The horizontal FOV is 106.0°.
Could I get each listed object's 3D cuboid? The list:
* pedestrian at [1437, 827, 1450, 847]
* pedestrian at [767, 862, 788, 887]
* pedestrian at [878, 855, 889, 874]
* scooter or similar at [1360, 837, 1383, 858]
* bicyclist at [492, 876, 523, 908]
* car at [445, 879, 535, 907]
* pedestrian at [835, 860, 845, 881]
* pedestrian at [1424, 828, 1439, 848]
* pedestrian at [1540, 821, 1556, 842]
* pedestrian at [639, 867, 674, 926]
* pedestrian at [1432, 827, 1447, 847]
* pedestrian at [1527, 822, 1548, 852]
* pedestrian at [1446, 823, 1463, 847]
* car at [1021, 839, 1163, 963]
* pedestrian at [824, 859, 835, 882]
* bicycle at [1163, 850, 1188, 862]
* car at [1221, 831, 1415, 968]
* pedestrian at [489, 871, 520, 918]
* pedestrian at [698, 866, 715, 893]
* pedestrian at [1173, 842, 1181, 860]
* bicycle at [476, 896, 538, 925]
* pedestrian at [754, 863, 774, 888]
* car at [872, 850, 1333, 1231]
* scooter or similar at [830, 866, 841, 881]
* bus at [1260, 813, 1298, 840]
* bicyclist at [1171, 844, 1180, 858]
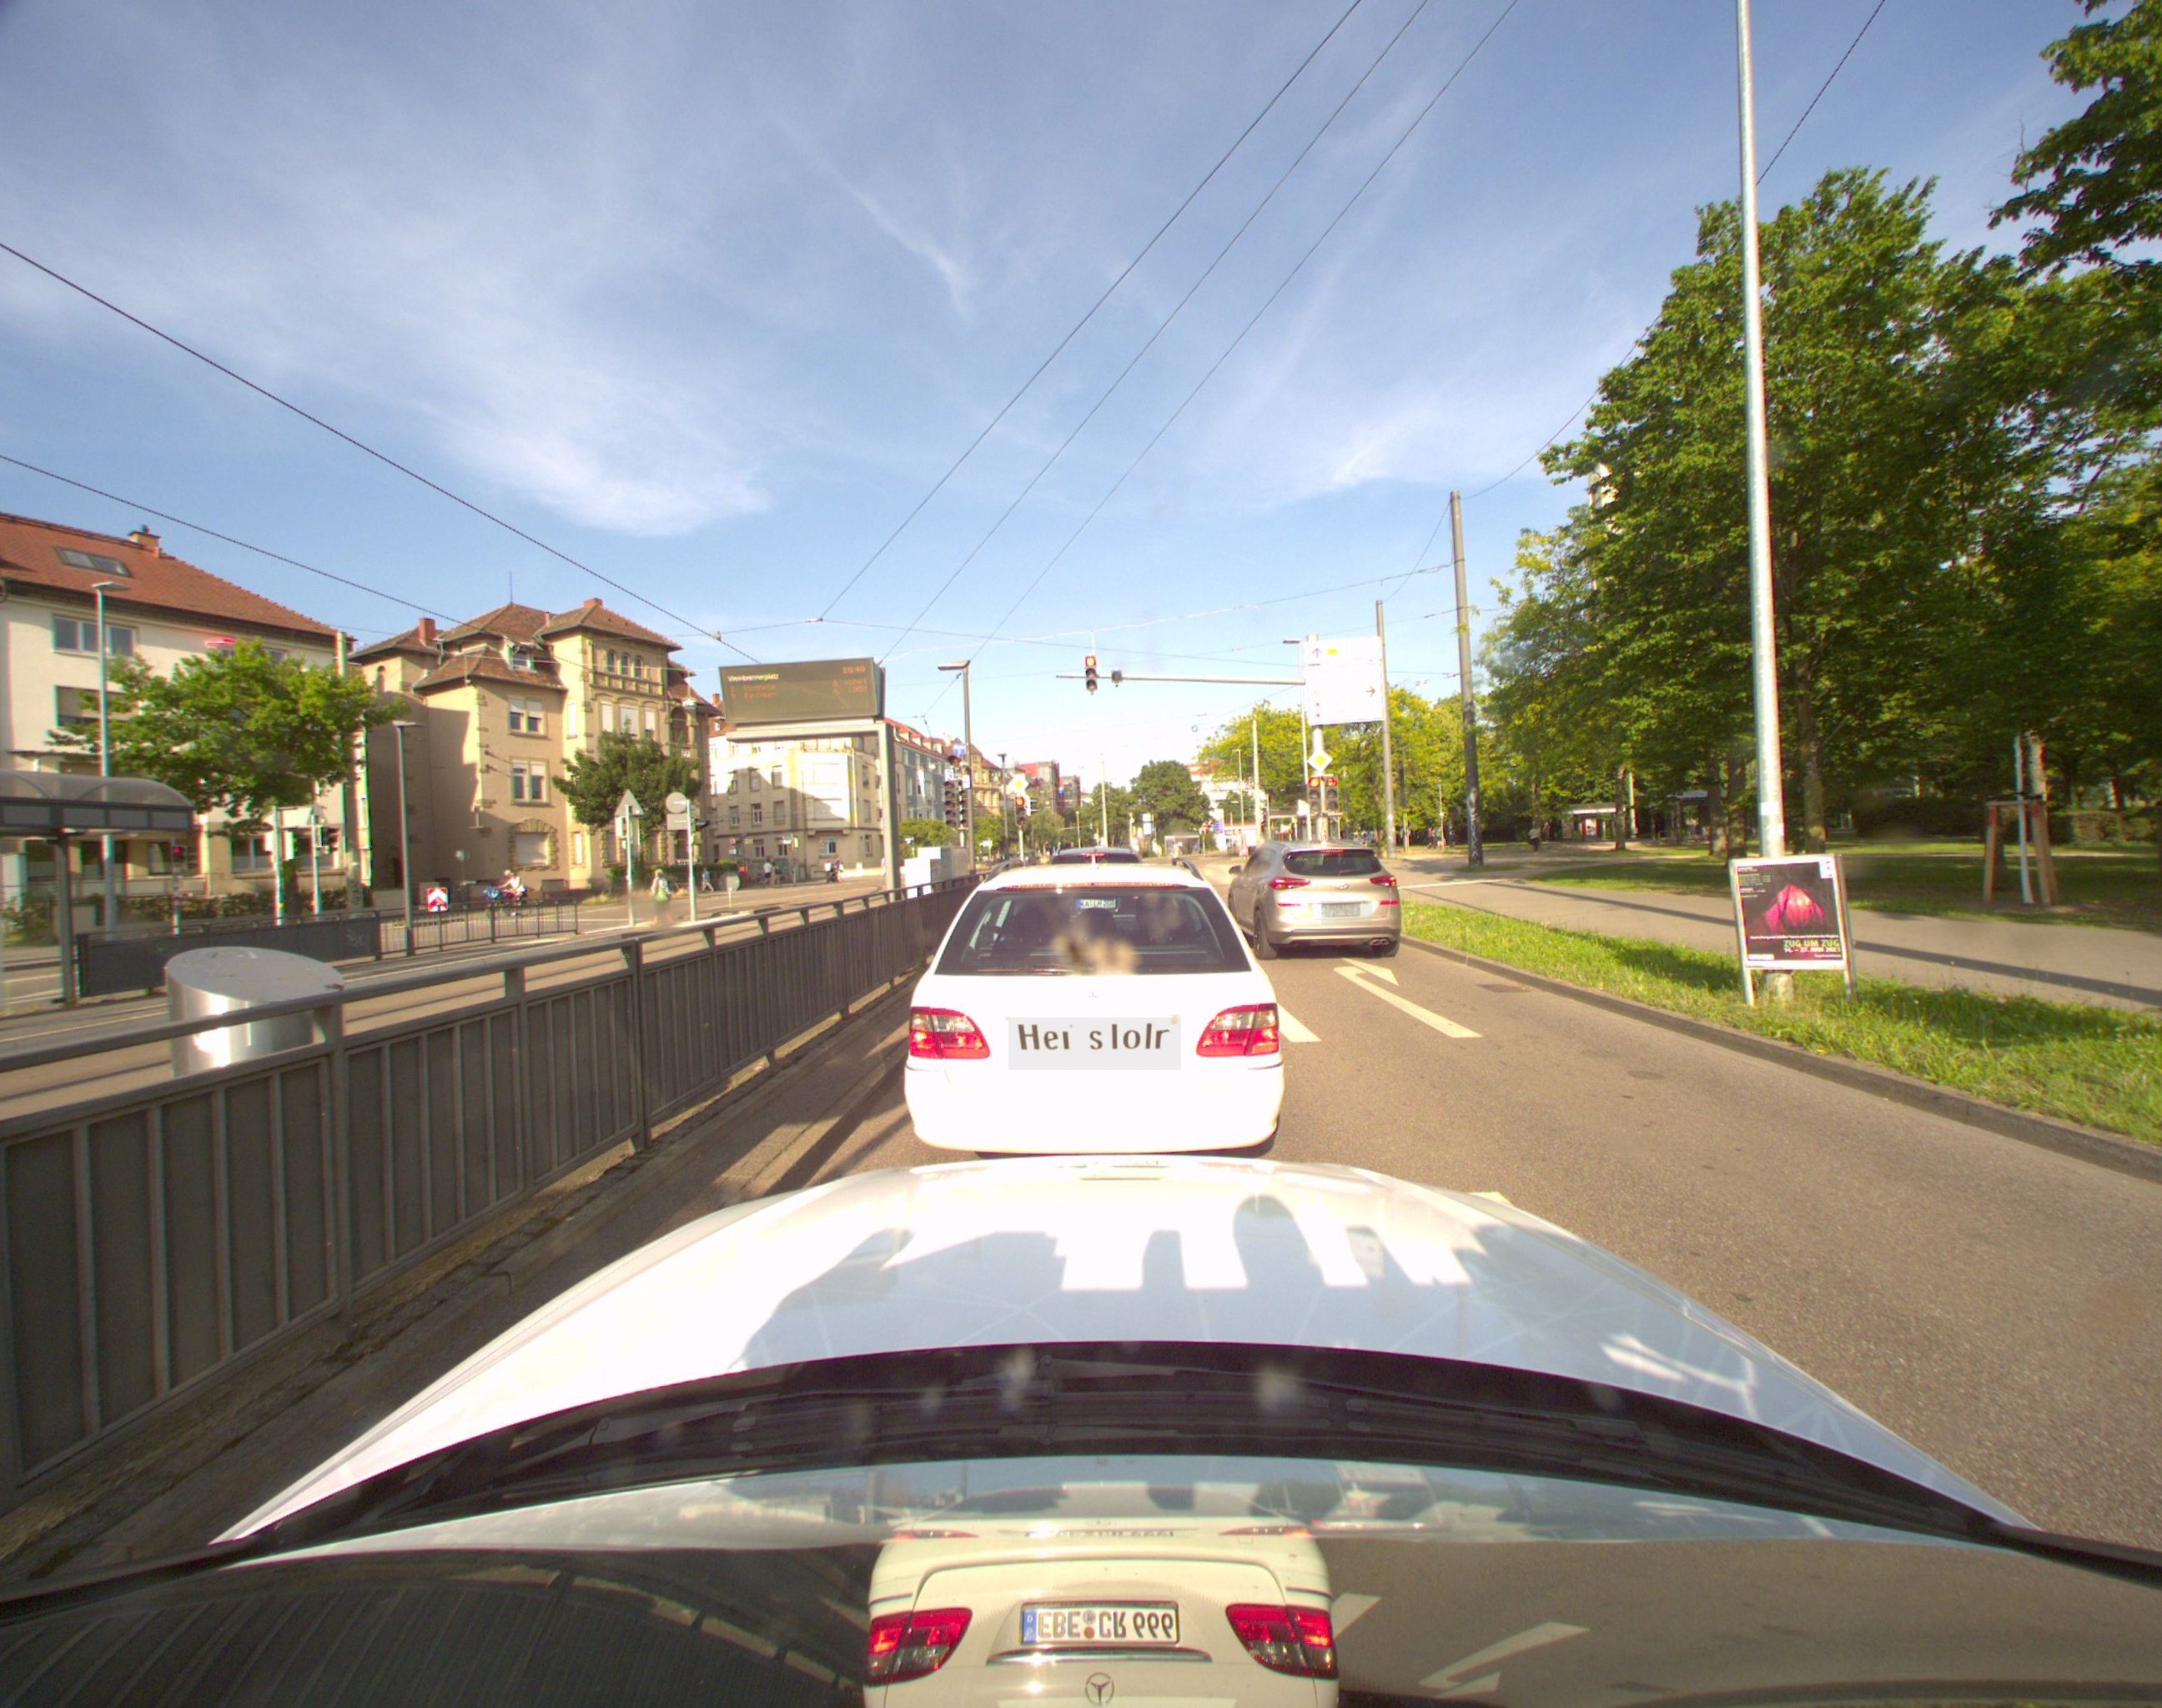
[{"bbox_3d":[27.772,-1.301,62.384,0.805,1.487,0.705,-3,0,26],"label":"pedestrian"},{"bbox_3d":[-19.454,1.316,52.201,0.822,1.552,0.786,-3,0,23],"label":"pedestrian"},{"bbox_3d":[-17.321,0.940,71.482,0.615,1.660,0.589,-3,0,17],"label":"pedestrian"},{"bbox_3d":[16.158,-0.339,45.287,0.421,1.117,1.322,-3,0,-18],"label":"scooter or similar"},{"bbox_3d":[-19.921,1.309,28.287,0.508,1.044,0.683,-3,0,23],"label":"bicyclist"},{"bbox_3d":[-29.450,1.912,40.570,4.066,1.310,1.774,-1,-1,24],"label":"car"},{"bbox_3d":[-17.342,1.184,58.588,0.434,1.500,0.551,-3,0,16],"label":"pedestrian"},{"bbox_3d":[27.259,-1.239,63.300,0.820,1.487,0.692,-3,0,-40],"label":"pedestrian"},{"bbox_3d":[36.760,-1.766,64.128,0.831,1.636,0.804,-3,0,8],"label":"pedestrian"},{"bbox_3d":[-11.853,1.179,22.762,0.611,1.599,0.632,-3,0,-5],"label":"pedestrian"},{"bbox_3d":[28.108,-1.322,63.889,0.813,1.487,0.698,-3,0,-9],"label":"pedestrian"},{"bbox_3d":[26.209,-0.963,46.752,0.758,1.636,0.800,-3,0,-38],"label":"pedestrian"},{"bbox_3d":[29.123,-1.476,63.509,0.797,1.785,0.838,-3,0,-2],"label":"pedestrian"},{"bbox_3d":[0.213,0.626,12.710,1.878,1.651,3.649,0,0,2],"label":"car"},{"bbox_3d":[-18.159,1.193,58.717,0.506,1.626,0.609,-3,0,3],"label":"pedestrian"},{"bbox_3d":[10.095,0.213,86.910,2.467,1.213,0.809,-3,0,9],"label":"bicycle"},{"bbox_3d":[3.334,0.569,12.201,1.878,1.651,3.649,-3,0,2],"label":"car"},{"bbox_3d":[-21.353,1.492,30.141,0.798,1.645,0.748,-3,0,-42],"label":"pedestrian"},{"bbox_3d":[-22.436,1.525,48.805,0.626,1.541,0.711,-3,0,1],"label":"pedestrian"},{"bbox_3d":[9.933,-0.302,84.529,0.638,1.857,0.554,-3,0,13],"label":"pedestrian"},{"bbox_3d":[-19.902,1.941,28.255,0.521,0.834,1.696,-3,0,24],"label":"bicycle"},{"bbox_3d":[-20.337,1.379,52.296,0.822,1.552,0.786,-3,0,23],"label":"pedestrian"},{"bbox_3d":[0.130,0.731,5.040,1.789,1.470,3.649,-1,0,1],"label":"car"},{"bbox_3d":[-17.935,1.427,59.505,0.541,1.079,0.683,-1,-1,1],"label":"scooter or similar"},{"bbox_3d":[30.601,-4.096,125.348,3.080,3.606,12.446,-1,-1,25],"label":"bus"},{"bbox_3d":[10.095,-0.330,86.891,0.855,1.482,0.792,-3,0,11],"label":"bicyclist"}]
